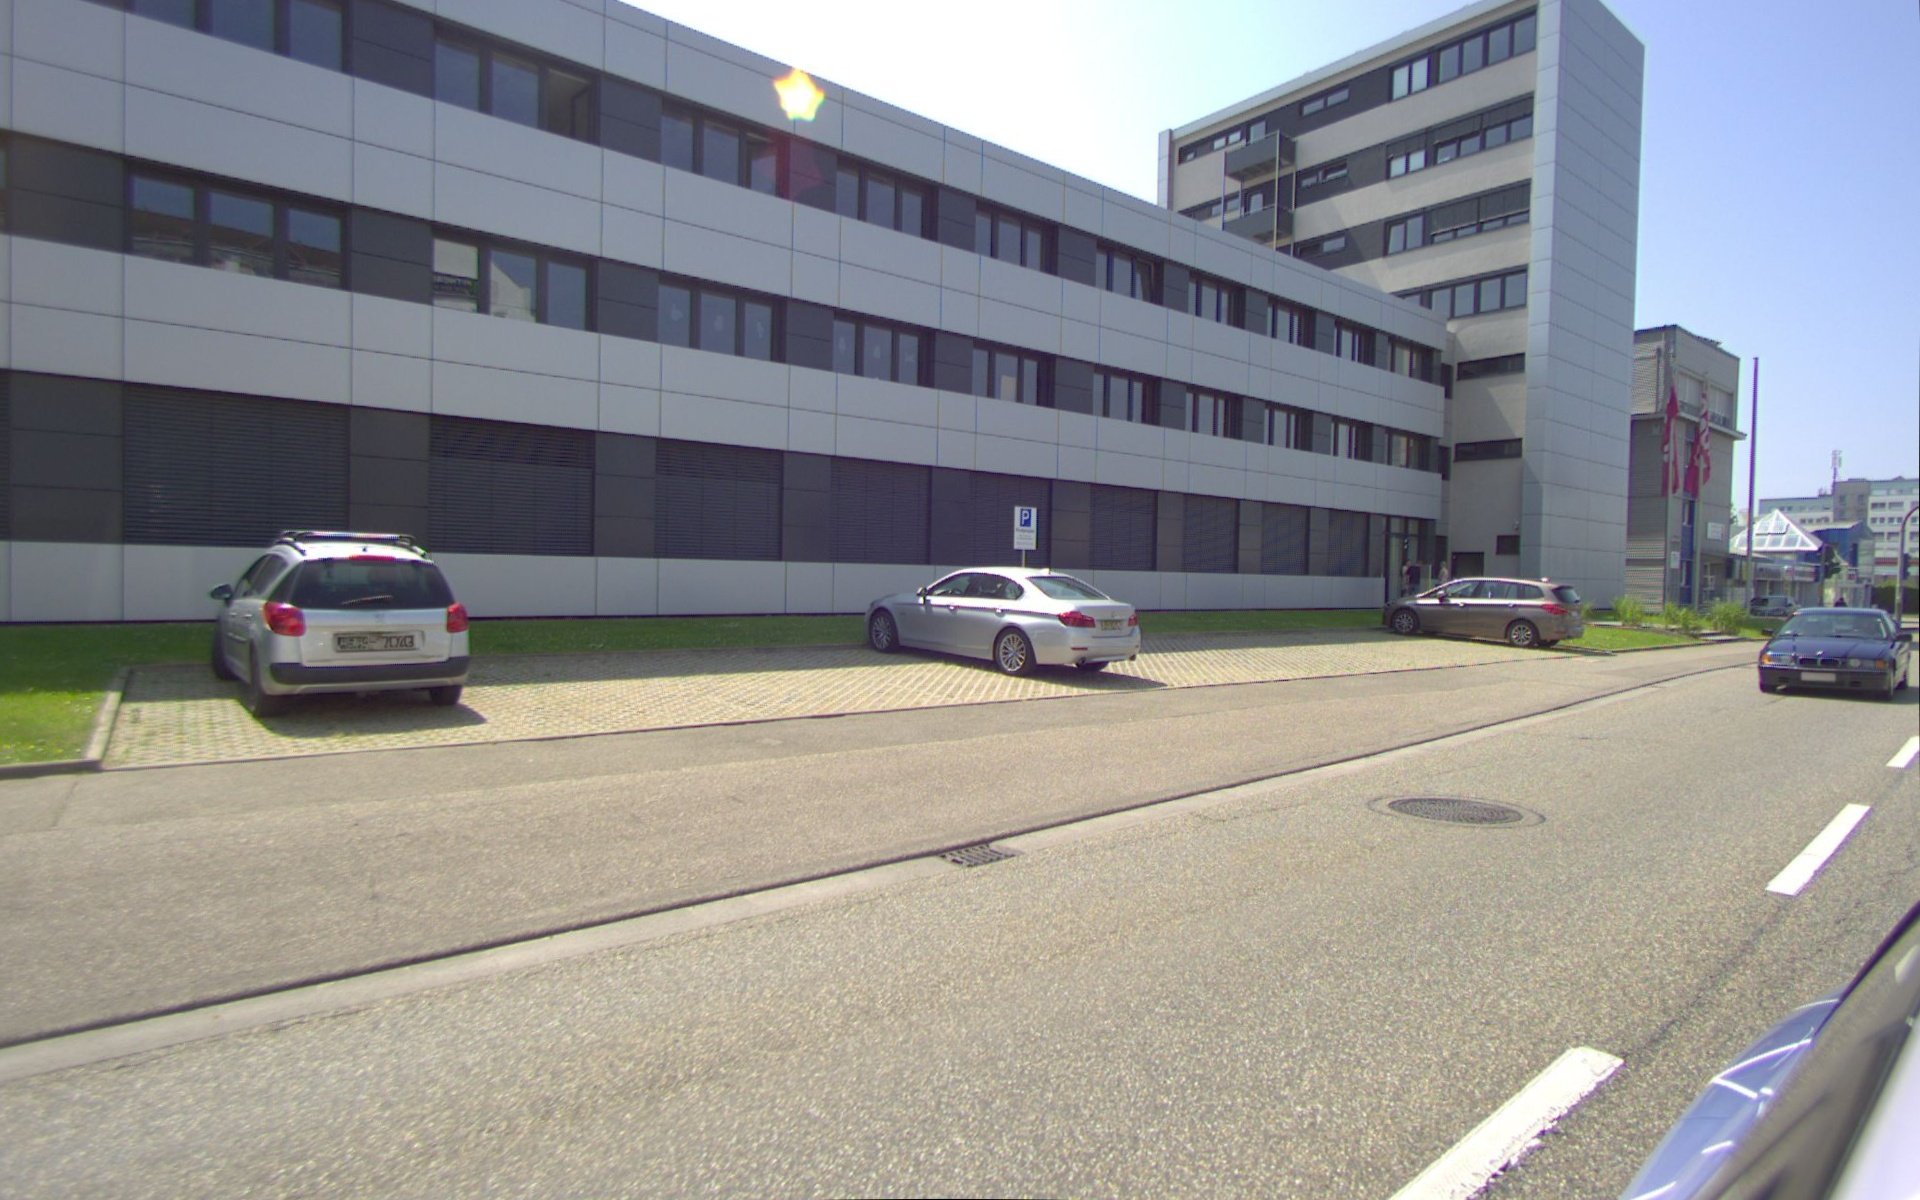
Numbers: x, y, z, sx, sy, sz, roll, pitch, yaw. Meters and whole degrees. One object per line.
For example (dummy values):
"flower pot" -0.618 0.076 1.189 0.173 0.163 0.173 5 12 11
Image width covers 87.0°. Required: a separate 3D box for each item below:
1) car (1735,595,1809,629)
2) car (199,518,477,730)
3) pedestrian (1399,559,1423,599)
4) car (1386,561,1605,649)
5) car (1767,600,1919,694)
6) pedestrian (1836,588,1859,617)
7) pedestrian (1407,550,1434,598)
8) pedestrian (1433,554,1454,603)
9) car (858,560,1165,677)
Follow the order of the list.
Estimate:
"car" 38.438 0.544 47.902 4.120 1.550 1.848 0 0 -38
"car" -6.303 0.071 10.058 1.703 1.611 3.820 0 5 -42
"pedestrian" 16.219 -0.745 36.411 0.521 1.422 0.787 3 2 42
"car" 12.998 0.033 24.766 1.966 1.709 4.268 -1 5 -42
"car" 14.686 0.684 16.658 3.692 1.356 1.630 0 1 -42
"pedestrian" 52.082 0.131 59.396 0.836 1.647 0.813 1 2 -35
"pedestrian" 15.978 -0.899 35.120 0.513 1.654 0.596 1 2 -30
"pedestrian" 17.014 -0.757 35.628 0.520 1.683 0.748 3 2 34
"car" 0.617 0.164 15.353 1.966 1.407 4.621 -1 3 -42
